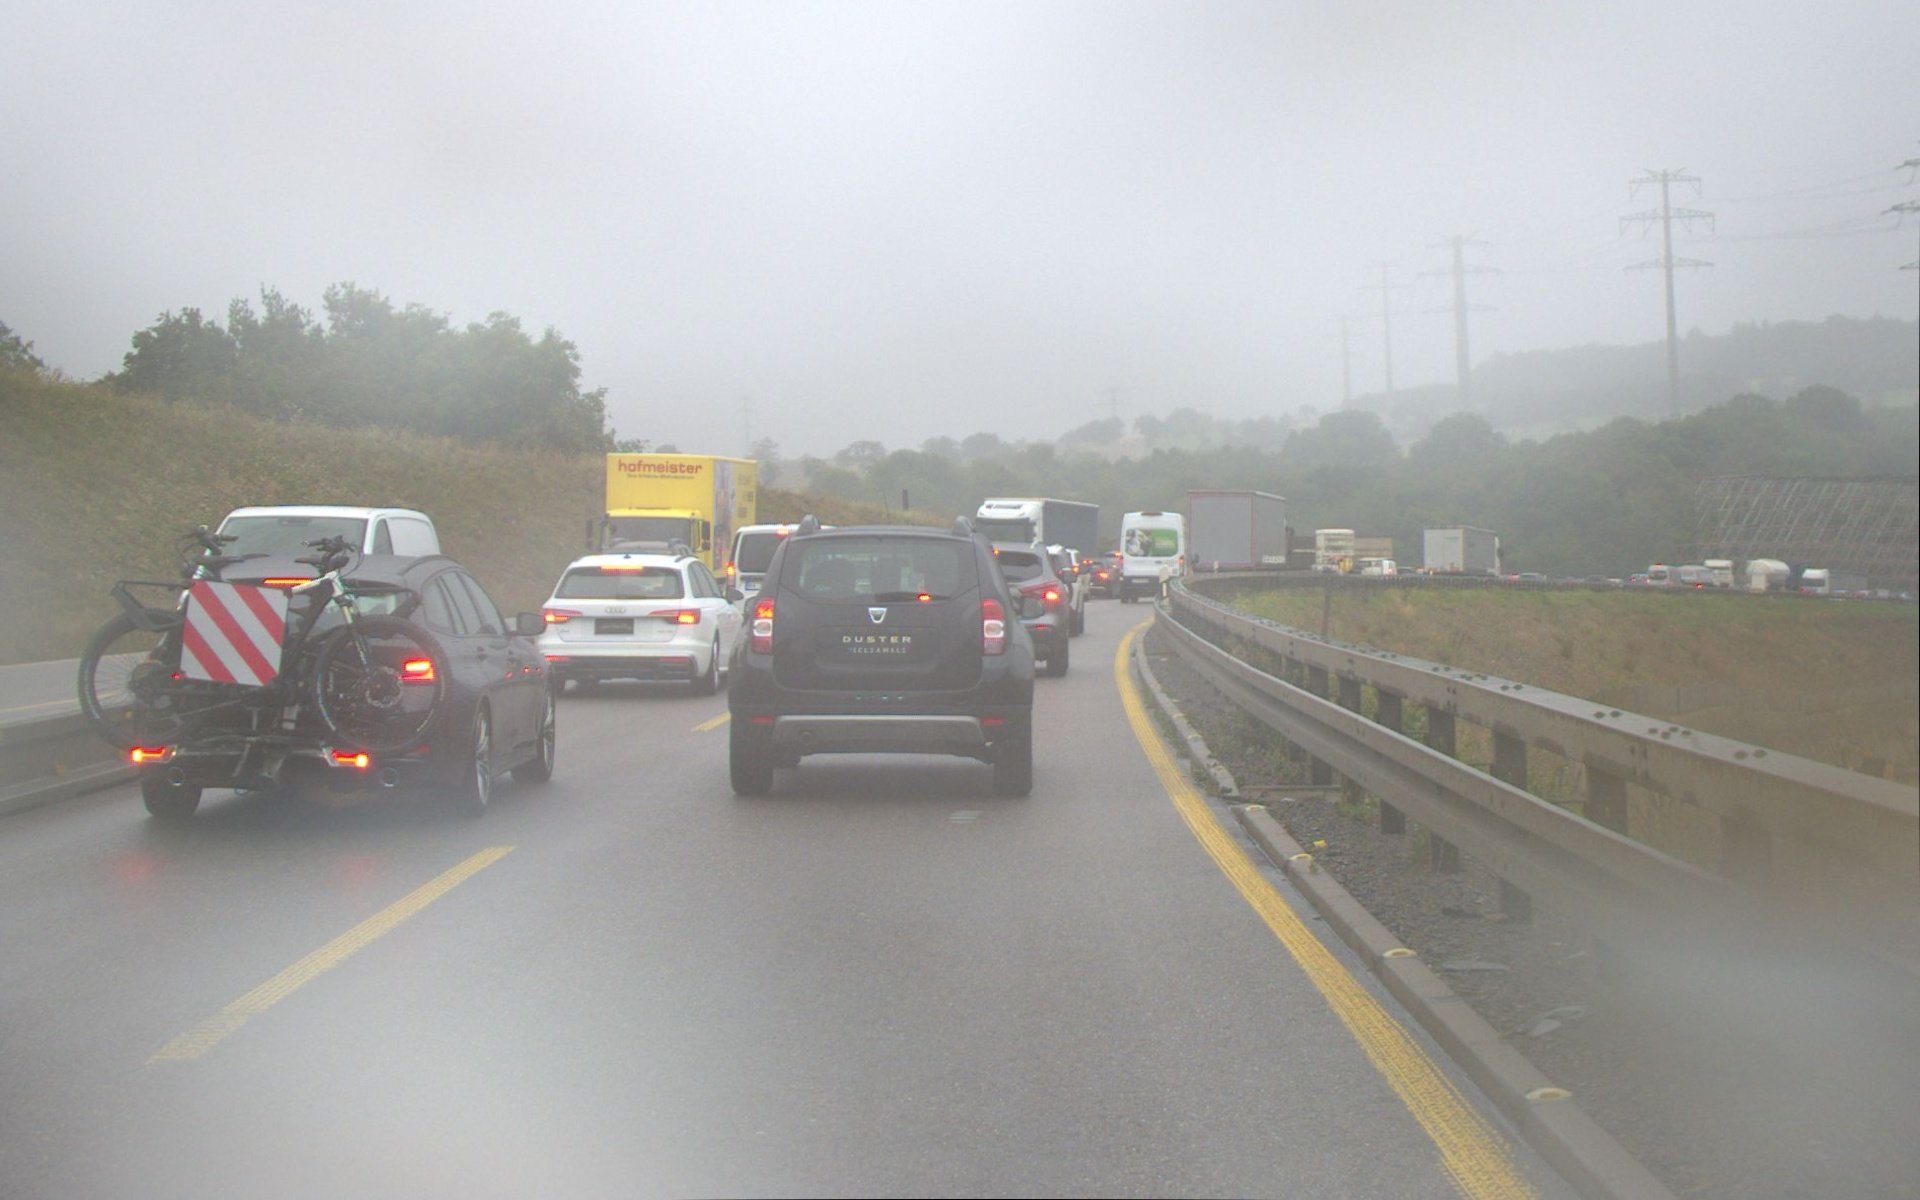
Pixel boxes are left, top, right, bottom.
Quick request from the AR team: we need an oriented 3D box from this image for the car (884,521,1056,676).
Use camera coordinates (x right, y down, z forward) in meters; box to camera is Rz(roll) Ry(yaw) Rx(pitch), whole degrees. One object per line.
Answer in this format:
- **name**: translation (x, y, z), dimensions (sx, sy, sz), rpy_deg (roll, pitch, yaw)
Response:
- **car**: translation (0.162, -0.053, 40.646), dimensions (1.868, 1.702, 4.000), rpy_deg (1, 1, 2)

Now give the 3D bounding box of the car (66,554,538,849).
- **car**: translation (-3.546, 0.483, 19.185), dimensions (1.829, 1.471, 3.776), rpy_deg (0, 1, 1)

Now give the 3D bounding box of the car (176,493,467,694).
- **car**: translation (-6.507, -0.109, 35.632), dimensions (2.000, 1.880, 5.274), rpy_deg (1, 1, 0)

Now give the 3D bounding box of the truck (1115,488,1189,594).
- **truck**: translation (5.992, -1.832, 106.641), dimensions (2.149, 3.155, 6.459), rpy_deg (1, 1, 4)

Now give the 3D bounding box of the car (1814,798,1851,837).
- **car**: translation (52.605, 13.107, 207.333), dimensions (1.995, 2.007, 3.997), rpy_deg (2, 1, 16)

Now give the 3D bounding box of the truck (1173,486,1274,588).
- **truck**: translation (10.310, -2.425, 133.561), dimensions (3.201, 3.748, 8.506), rpy_deg (1, 1, 9)

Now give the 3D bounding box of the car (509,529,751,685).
- **car**: translation (-3.309, 0.030, 35.318), dimensions (1.868, 1.455, 4.548), rpy_deg (1, 1, 2)

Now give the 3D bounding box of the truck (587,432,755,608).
- **truck**: translation (-6.861, -1.901, 82.753), dimensions (2.768, 3.983, 8.422), rpy_deg (1, 1, 4)

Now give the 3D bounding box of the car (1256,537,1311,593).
- **car**: translation (11.402, -1.235, 121.027), dimensions (1.775, 1.909, 3.999), rpy_deg (1, 1, 6)

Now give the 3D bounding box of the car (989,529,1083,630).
- **car**: translation (1.289, -0.372, 59.104), dimensions (1.530, 1.635, 4.013), rpy_deg (1, 1, 1)

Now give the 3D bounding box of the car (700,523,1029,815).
- **car**: translation (-0.501, 0.360, 21.285), dimensions (1.804, 1.640, 3.776), rpy_deg (0, 1, 2)

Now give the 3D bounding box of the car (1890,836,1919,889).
- **car**: translation (43.364, 11.790, 154.091), dimensions (2.365, 2.007, 4.000), rpy_deg (1, 1, 3)

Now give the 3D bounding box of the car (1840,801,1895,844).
- **car**: translation (45.340, 11.123, 171.829), dimensions (1.994, 1.809, 3.999), rpy_deg (1, 1, 5)

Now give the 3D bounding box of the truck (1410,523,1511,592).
- **truck**: translation (32.418, -2.750, 221.998), dimensions (4.720, 4.135, 15.672), rpy_deg (2, 1, 14)

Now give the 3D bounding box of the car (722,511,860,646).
- **car**: translation (-2.451, -0.336, 50.602), dimensions (1.660, 1.873, 4.020), rpy_deg (1, 1, 2)
